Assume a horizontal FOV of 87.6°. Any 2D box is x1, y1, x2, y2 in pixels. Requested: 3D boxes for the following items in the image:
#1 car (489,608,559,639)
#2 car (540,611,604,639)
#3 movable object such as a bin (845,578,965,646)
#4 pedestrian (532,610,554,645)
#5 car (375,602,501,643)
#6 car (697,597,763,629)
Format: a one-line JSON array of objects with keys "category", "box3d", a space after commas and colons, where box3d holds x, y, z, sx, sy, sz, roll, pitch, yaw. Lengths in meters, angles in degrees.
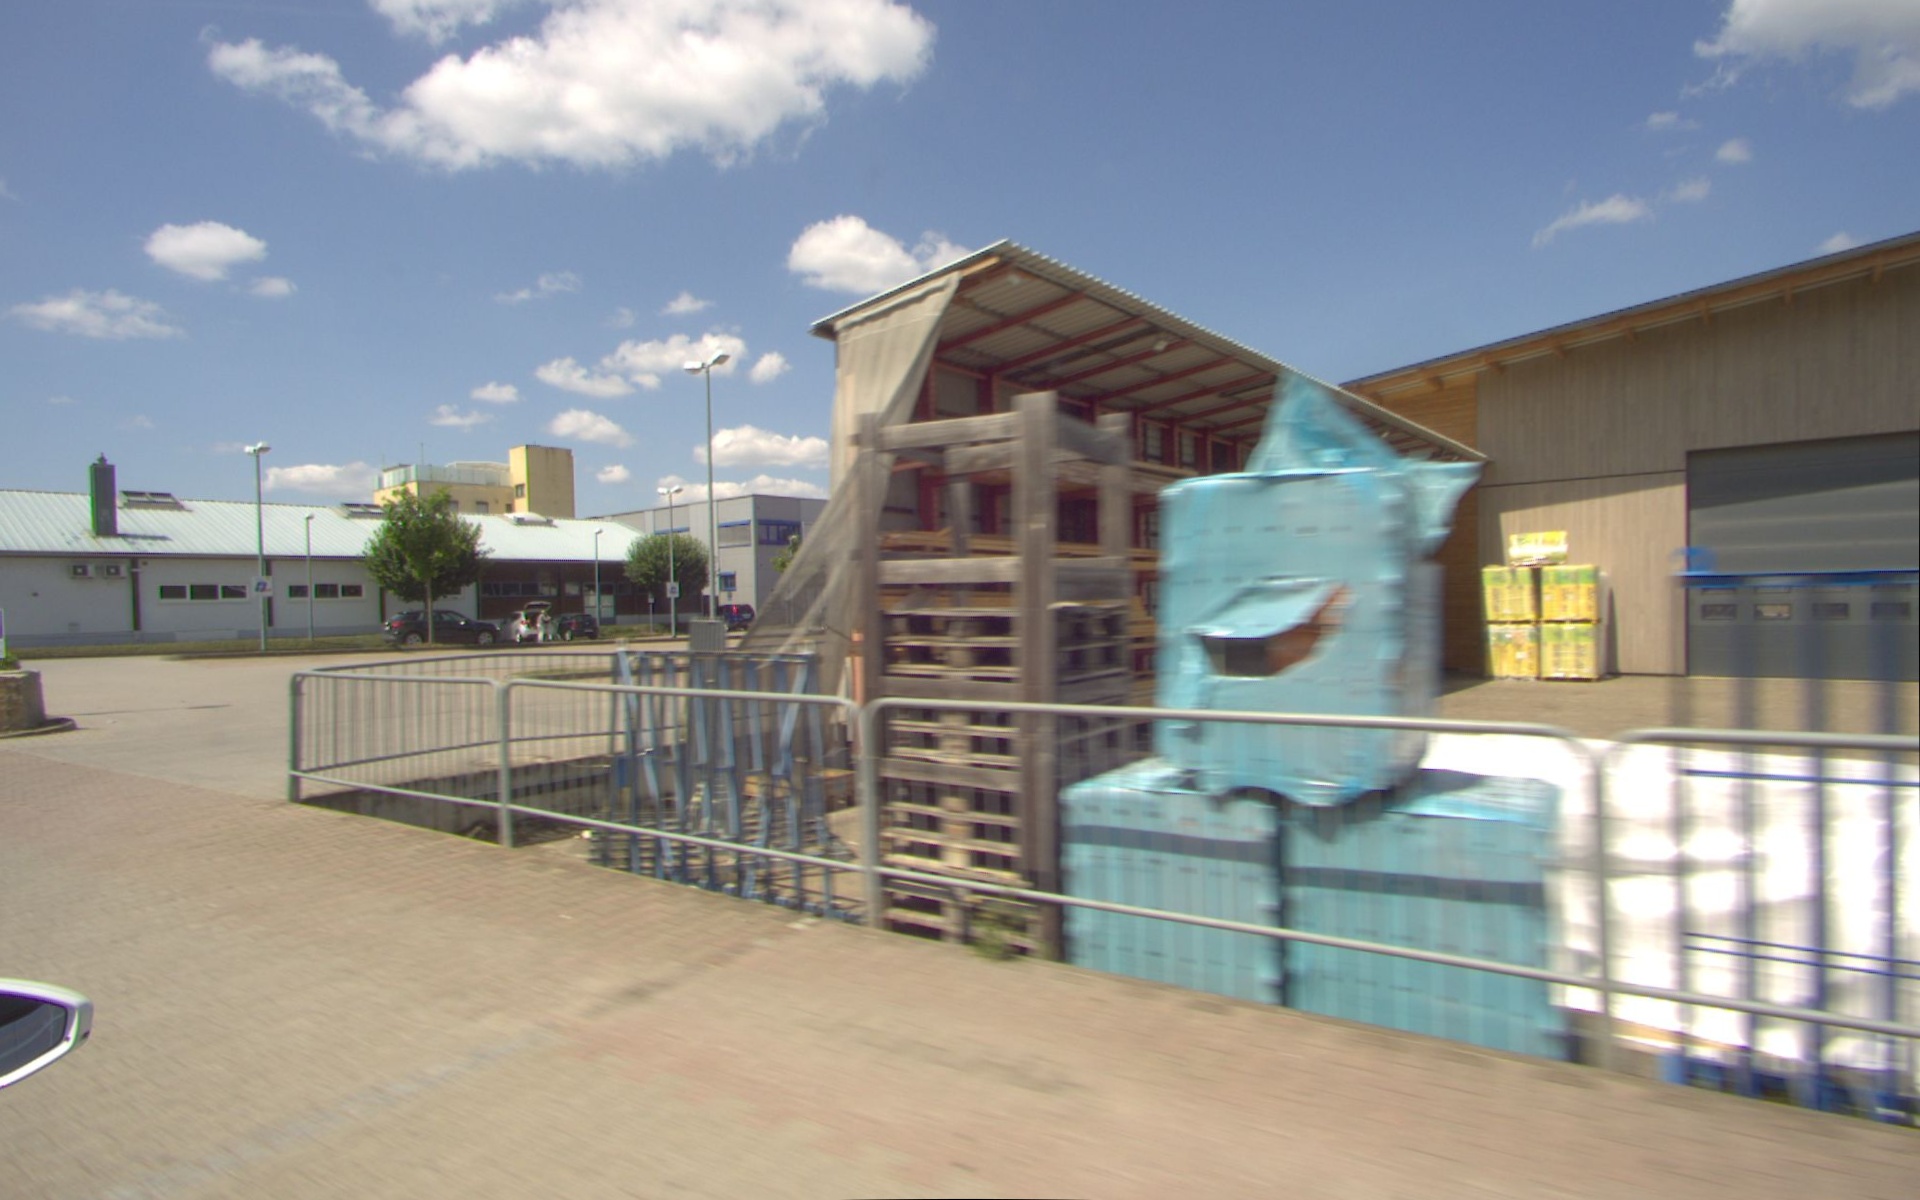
[{"category": "car", "box3d": [-22.556, 1.185, 51.766, 3.856, 1.518, 1.878, -1, 0, 42]}, {"category": "car", "box3d": [-20.787, 1.329, 53.621, 3.700, 1.443, 1.580, -1, -1, 40]}, {"category": "movable object such as a bin", "box3d": [-2.003, 0.397, 35.522, 1.669, 2.234, 4.475, -3, 2, -45]}, {"category": "pedestrian", "box3d": [-20.864, 1.373, 50.098, 0.724, 1.659, 0.774, -3, 0, -44]}, {"category": "car", "box3d": [-20.234, 0.839, 38.919, 3.961, 1.514, 1.980, -1, 0, -44]}, {"category": "car", "box3d": [-14.253, 0.814, 61.964, 3.941, 1.731, 1.879, -3, 0, 40]}]
